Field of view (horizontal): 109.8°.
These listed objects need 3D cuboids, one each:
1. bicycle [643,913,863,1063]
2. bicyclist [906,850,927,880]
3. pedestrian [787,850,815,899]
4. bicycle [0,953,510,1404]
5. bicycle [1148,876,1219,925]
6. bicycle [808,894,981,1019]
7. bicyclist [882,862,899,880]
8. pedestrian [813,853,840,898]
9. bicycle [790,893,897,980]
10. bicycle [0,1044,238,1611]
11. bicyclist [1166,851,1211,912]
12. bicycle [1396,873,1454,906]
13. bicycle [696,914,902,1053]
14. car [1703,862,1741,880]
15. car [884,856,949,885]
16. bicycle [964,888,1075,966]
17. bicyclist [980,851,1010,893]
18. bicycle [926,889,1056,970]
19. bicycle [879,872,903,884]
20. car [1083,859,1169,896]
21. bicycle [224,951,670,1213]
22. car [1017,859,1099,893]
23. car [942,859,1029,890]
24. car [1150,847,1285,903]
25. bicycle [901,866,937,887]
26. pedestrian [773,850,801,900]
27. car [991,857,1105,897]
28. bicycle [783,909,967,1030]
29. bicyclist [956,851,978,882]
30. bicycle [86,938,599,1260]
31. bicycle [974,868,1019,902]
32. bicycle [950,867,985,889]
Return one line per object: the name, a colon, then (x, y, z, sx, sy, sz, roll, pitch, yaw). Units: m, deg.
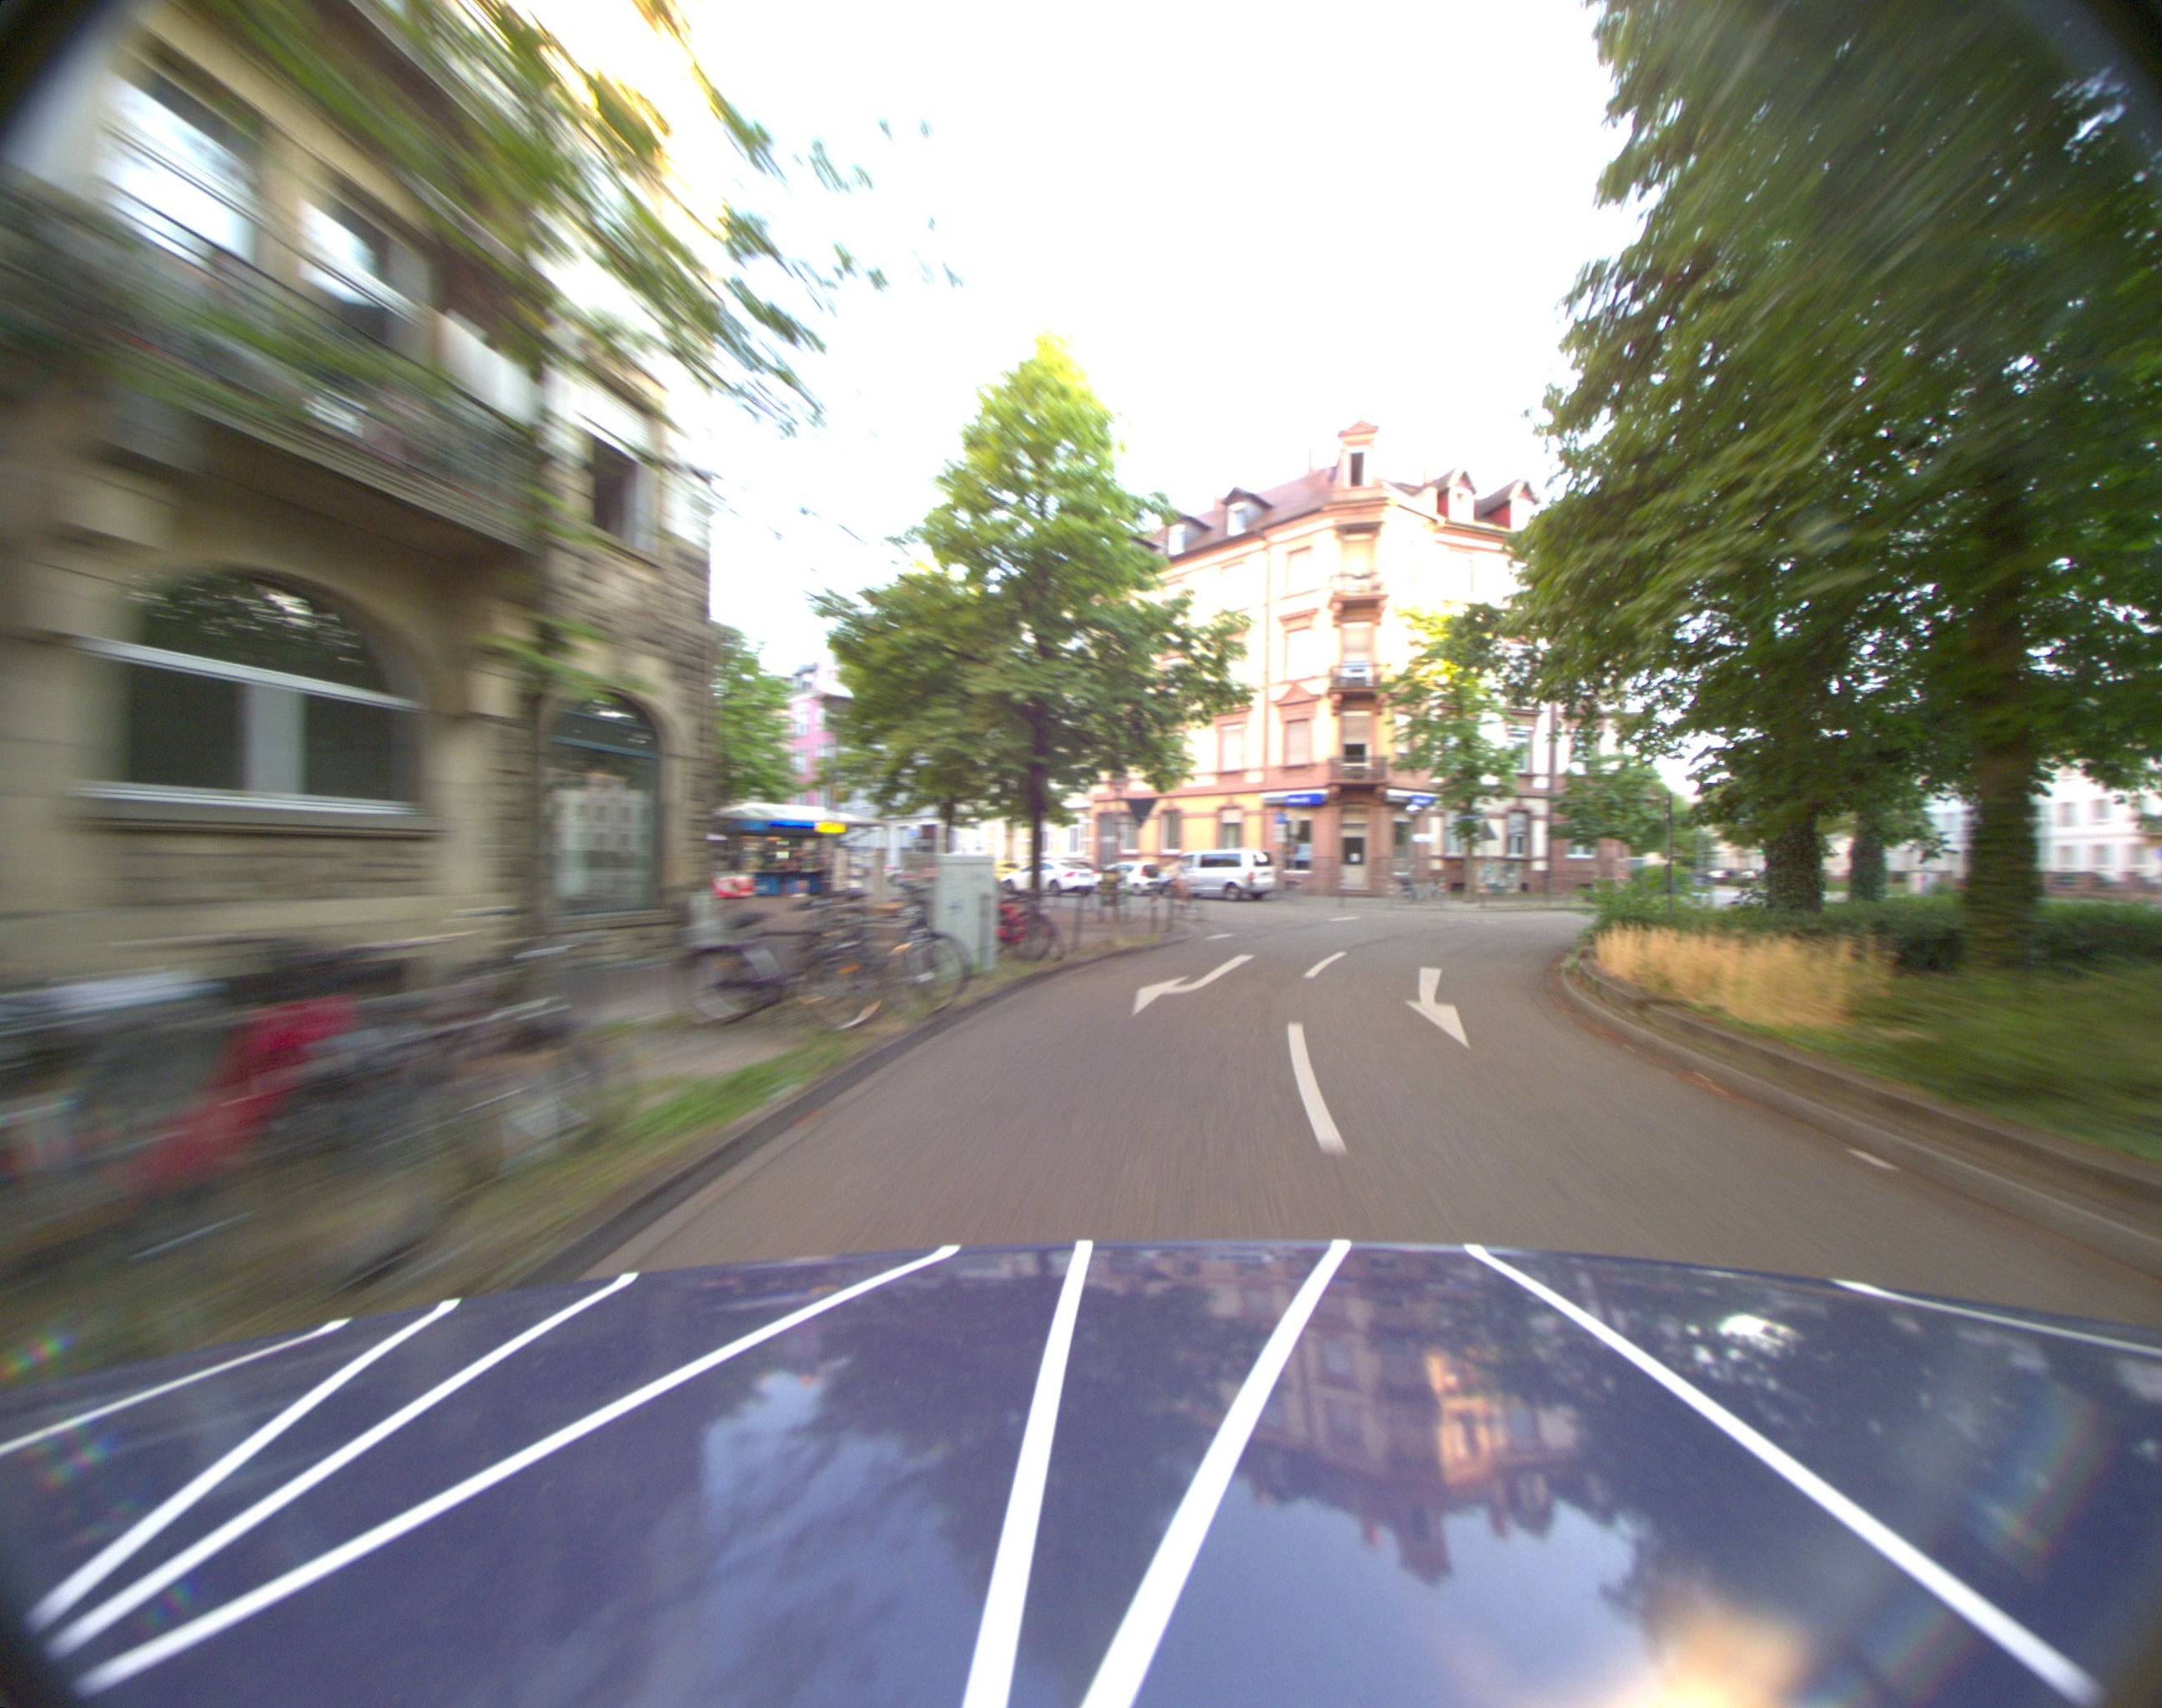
bicycle: (-2.607, 1.040, 6.071, 1.605, 1.069, 0.419, 1, 0, 7)
bicyclist: (-8.880, 0.605, 41.009, 0.872, 1.574, 0.728, 1, 0, 36)
pedestrian: (-9.470, 0.687, 25.720, 0.590, 1.627, 0.679, 1, 0, 14)
bicycle: (-3.021, 0.969, 2.468, 1.919, 1.193, 0.552, 1, 0, 1)
bicycle: (2.598, 1.163, 19.589, 0.687, 1.144, 2.110, 0, 0, -29)
bicycle: (-1.875, 1.002, 7.700, 1.605, 1.141, 0.555, 1, 0, 11)
bicyclist: (-10.970, 0.975, 43.775, 0.728, 0.971, 0.650, 1, 0, 44)
pedestrian: (-8.807, 0.740, 26.266, 0.590, 1.530, 0.679, 1, 0, 14)
bicycle: (-3.087, 1.043, 10.041, 0.431, 0.963, 1.729, 1, 0, 17)
bicycle: (-3.190, 1.027, 1.741, 1.919, 1.058, 0.552, 1, 0, 1)
bicyclist: (2.726, 0.683, 19.363, 0.687, 1.503, 0.971, 0, 0, -29)
bicycle: (12.205, 1.242, 26.964, 1.793, 1.077, 0.562, 1, 1, 31)
bicycle: (-2.373, 1.068, 6.424, 1.605, 1.057, 0.419, 1, 0, 7)
car: (67.655, 1.768, 80.213, 1.905, 1.839, 4.007, 1, 0, 22)
car: (-9.737, 0.919, 44.820, 1.809, 1.584, 4.133, -2, 2, -44)
bicycle: (-0.918, 1.057, 11.230, 1.603, 1.033, 0.433, 1, 0, 23)
bicyclist: (-3.103, 0.635, 27.369, 0.688, 1.503, 0.970, 0, 0, -35)
bicycle: (-1.315, 1.060, 10.994, 1.894, 1.033, 0.433, 1, 0, 23)
bicycle: (-10.933, 1.369, 43.744, 1.459, 0.639, 0.653, 0, 0, 44)
car: (1.970, 1.013, 34.040, 3.603, 1.483, 1.693, 0, 1, 44)
bicycle: (-2.959, 1.035, 3.605, 1.795, 1.057, 0.448, 1, 0, 3)
car: (-1.146, 1.007, 36.554, 3.731, 1.483, 1.738, 0, 1, 40)
car: (-5.128, 1.035, 40.334, 4.787, 1.517, 1.848, 0, 2, 42)
car: (5.362, 0.769, 30.358, 4.990, 2.045, 2.051, 0, 1, 45)
bicycle: (-8.715, 1.199, 40.891, 2.042, 1.088, 0.731, 1, 0, 36)
pedestrian: (-9.735, 0.686, 25.172, 0.589, 1.627, 0.680, 1, 0, 43)
car: (-1.452, 0.924, 31.975, 4.826, 1.508, 2.004, 0, 0, 44)
bicycle: (-1.959, 1.072, 7.265, 1.605, 1.014, 0.555, 1, 0, 11)
bicyclist: (-5.750, 0.643, 38.444, 0.872, 1.536, 0.680, 1, 0, 42)
bicycle: (-3.056, 0.976, 3.204, 1.795, 1.161, 0.448, 1, 0, 3)
bicycle: (-3.070, 1.090, 27.309, 0.688, 1.144, 2.109, 0, 0, -35)
bicycle: (-5.752, 1.203, 38.444, 1.803, 1.088, 0.687, 1, 0, 41)
